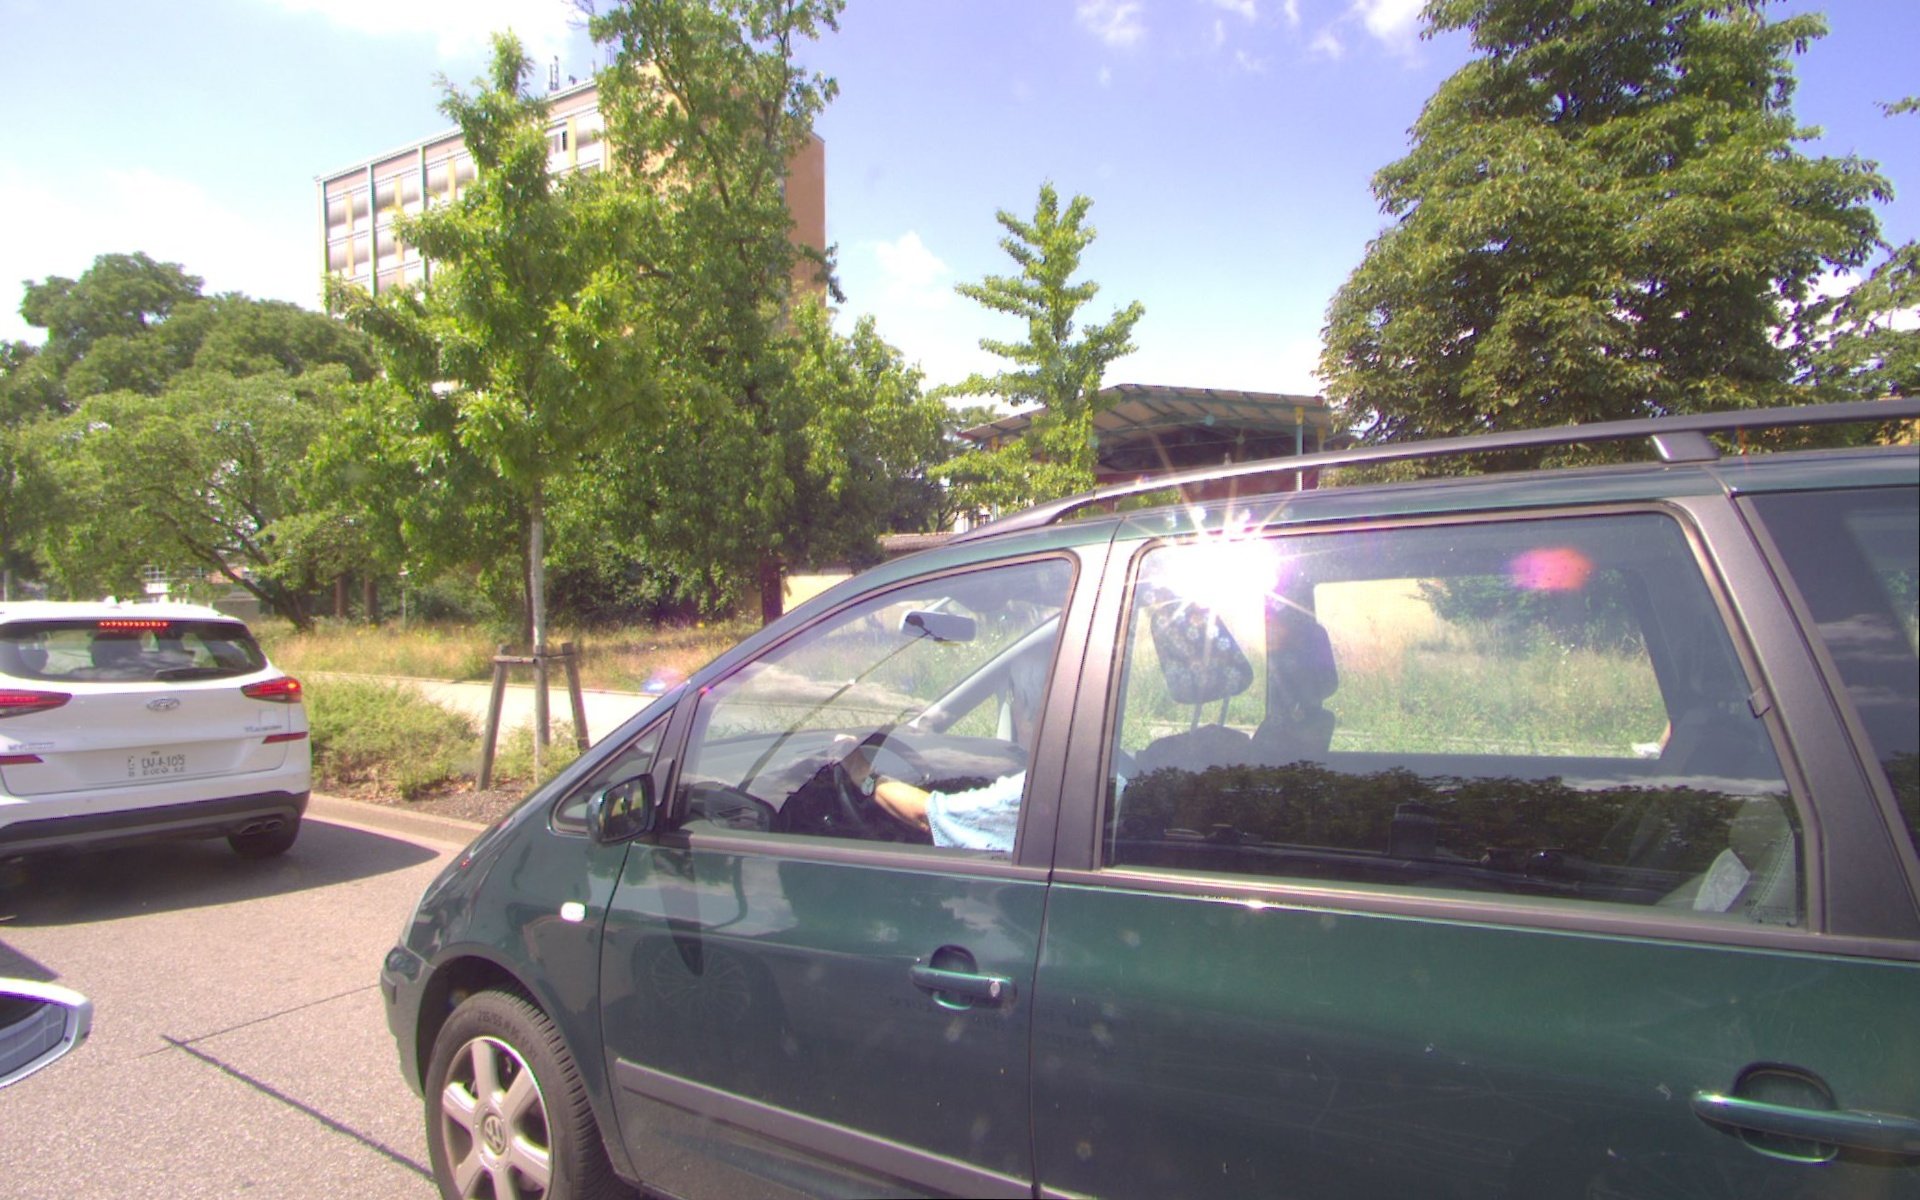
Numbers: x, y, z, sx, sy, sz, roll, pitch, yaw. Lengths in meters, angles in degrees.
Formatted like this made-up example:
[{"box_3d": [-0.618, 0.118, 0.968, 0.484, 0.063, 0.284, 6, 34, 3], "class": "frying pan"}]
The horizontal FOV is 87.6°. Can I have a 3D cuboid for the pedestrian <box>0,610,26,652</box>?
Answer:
[{"box_3d": [-38.293, 1.239, 40.386, 0.805, 1.677, 0.756, 0, 1, 36], "class": "pedestrian"}]

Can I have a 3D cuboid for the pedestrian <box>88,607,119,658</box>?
[{"box_3d": [-31.533, 1.186, 36.880, 0.751, 1.874, 0.811, 0, 1, -32], "class": "pedestrian"}]

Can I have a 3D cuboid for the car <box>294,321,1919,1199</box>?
[{"box_3d": [0.547, 0.632, 2.282, 4.329, 1.737, 1.799, 0, -2, 32], "class": "car"}]

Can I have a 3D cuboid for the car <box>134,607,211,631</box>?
[{"box_3d": [-95.582, 2.369, 121.691, 2.453, 2.751, 7.072, -1, -2, 20], "class": "car"}]

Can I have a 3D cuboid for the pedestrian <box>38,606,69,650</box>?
[{"box_3d": [-39.439, 1.197, 43.570, 0.803, 1.874, 0.759, 0, 1, 24], "class": "pedestrian"}]

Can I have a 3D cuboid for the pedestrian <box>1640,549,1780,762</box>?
[{"box_3d": [5.913, 0.417, 7.941, 0.804, 1.578, 0.757, 0, 1, 31], "class": "pedestrian"}]

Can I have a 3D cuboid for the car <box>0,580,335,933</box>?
[{"box_3d": [-5.922, 0.770, 6.435, 3.919, 1.701, 1.810, 0, 0, 34], "class": "car"}]

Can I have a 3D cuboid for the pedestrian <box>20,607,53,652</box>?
[{"box_3d": [-39.401, 1.255, 42.718, 0.802, 1.874, 0.759, 0, 1, 22], "class": "pedestrian"}]
